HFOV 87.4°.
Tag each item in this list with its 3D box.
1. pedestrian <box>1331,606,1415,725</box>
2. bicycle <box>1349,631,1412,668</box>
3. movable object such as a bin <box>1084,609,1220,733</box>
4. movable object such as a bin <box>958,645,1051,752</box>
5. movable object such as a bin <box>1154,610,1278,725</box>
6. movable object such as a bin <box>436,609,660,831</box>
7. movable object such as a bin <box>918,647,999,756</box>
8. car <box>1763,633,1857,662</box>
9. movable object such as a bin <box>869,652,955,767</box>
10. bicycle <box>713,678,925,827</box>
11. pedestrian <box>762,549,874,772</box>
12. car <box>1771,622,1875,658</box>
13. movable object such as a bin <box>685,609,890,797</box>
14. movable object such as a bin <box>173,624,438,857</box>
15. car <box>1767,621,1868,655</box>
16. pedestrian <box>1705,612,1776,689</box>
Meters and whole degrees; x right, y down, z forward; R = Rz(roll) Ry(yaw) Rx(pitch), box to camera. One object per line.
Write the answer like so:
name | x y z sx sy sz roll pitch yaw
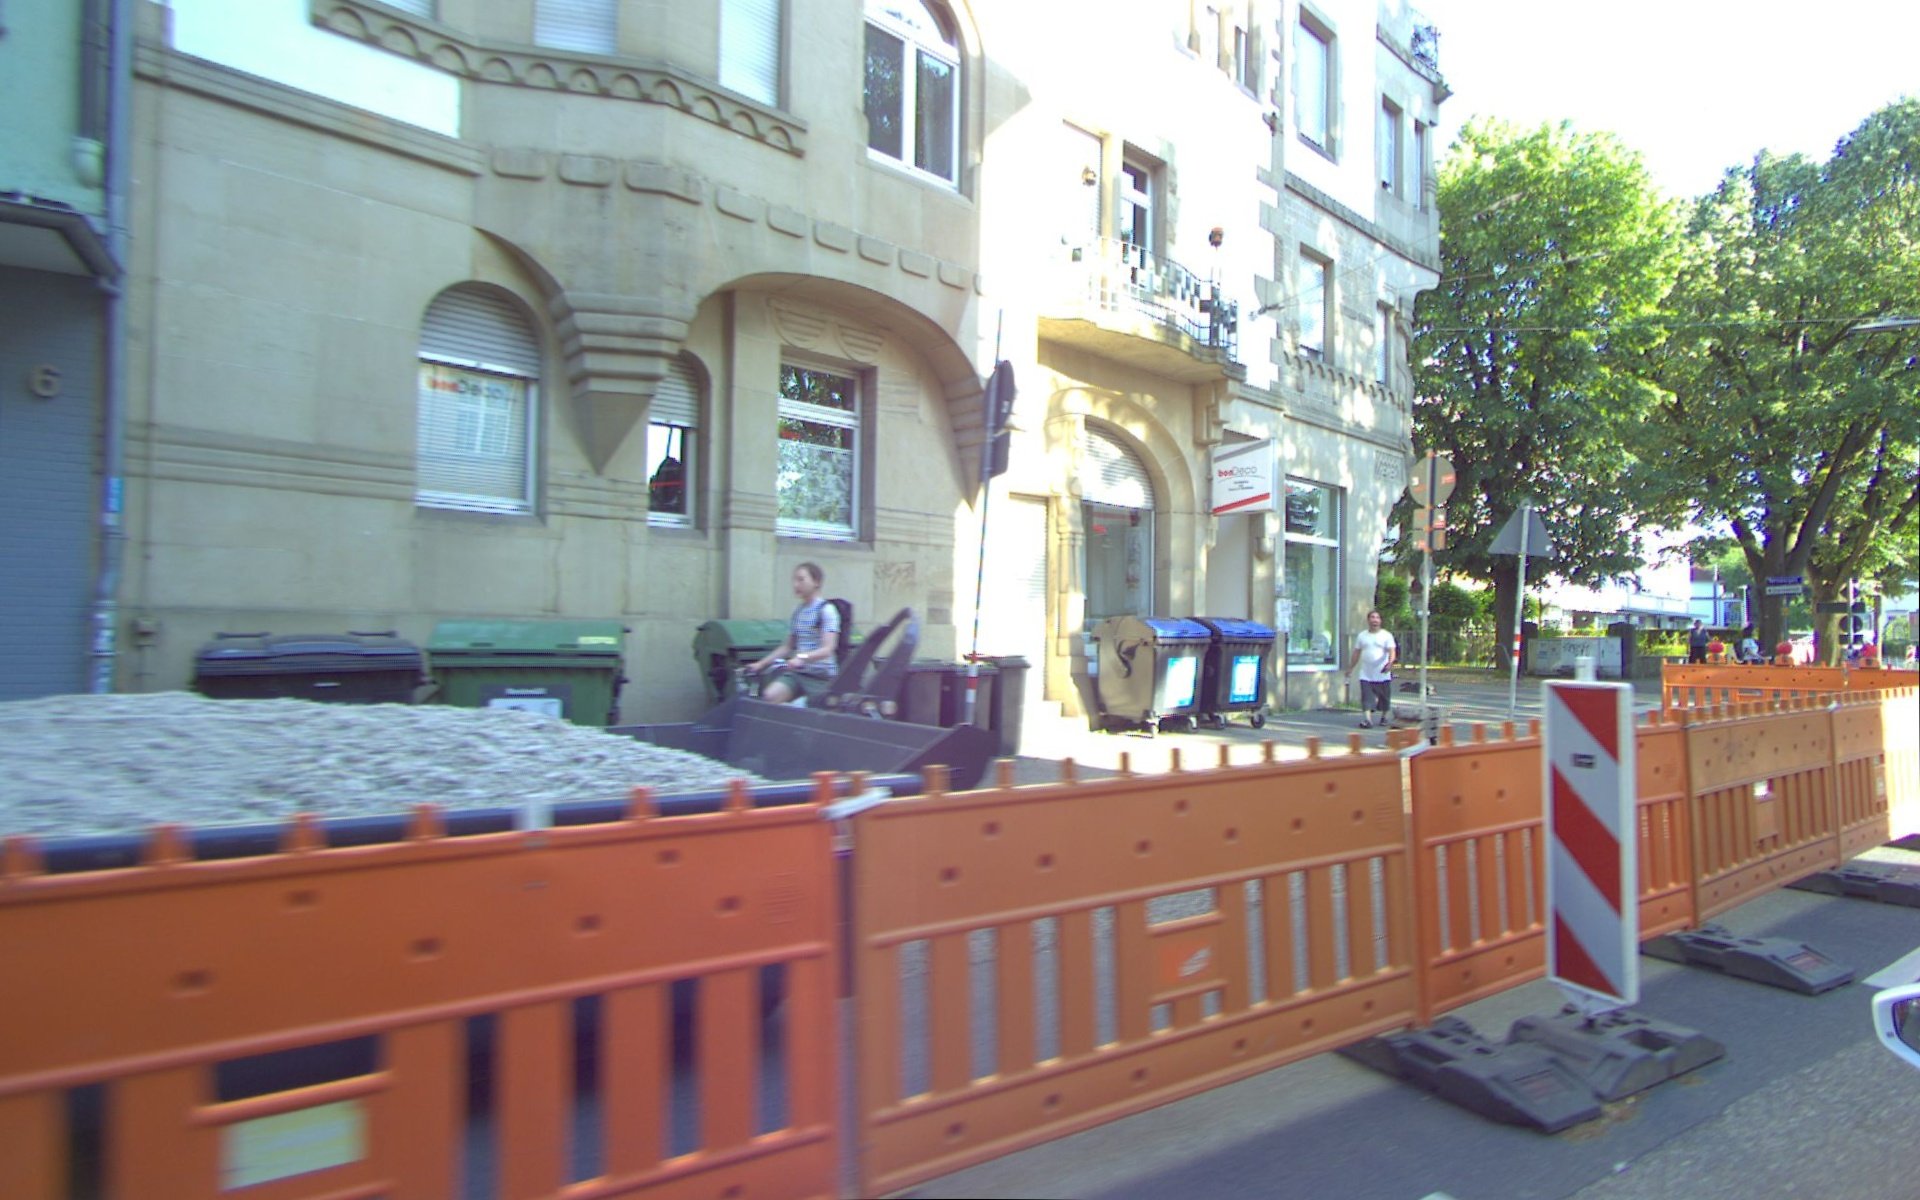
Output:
pedestrian | 5.940 0.914 14.437 0.812 1.625 0.912 1 0 44
bicycle | 12.971 1.513 30.983 1.910 1.091 0.743 1 0 -29
movable object such as a bin | 2.445 0.853 12.776 1.397 1.450 1.072 1 0 -43
movable object such as a bin | 0.472 1.031 10.783 0.757 1.055 0.631 1 0 -38
movable object such as a bin | 3.497 0.883 13.689 1.336 1.450 1.072 1 0 -43
movable object such as a bin | -2.986 0.809 7.370 1.387 1.450 1.080 1 0 -22
movable object such as a bin | -0.020 1.019 10.298 0.551 1.037 0.631 1 0 -38
car | 49.113 2.736 58.075 1.987 1.498 3.952 2 -1 -44
movable object such as a bin | -0.479 1.056 9.931 0.583 1.055 0.631 1 0 -38
bicycle | -1.046 1.100 7.549 1.458 0.944 0.596 1 0 -34
pedestrian | -1.071 0.432 7.532 0.610 1.576 0.594 1 0 -33
car | 53.197 2.427 61.968 2.101 1.991 4.625 1 0 -42
movable object such as a bin | -1.495 0.824 8.706 1.395 1.450 1.074 1 0 -38
movable object such as a bin | -4.212 0.818 6.498 1.322 1.281 1.074 1 0 -37
car | 51.176 2.251 60.010 1.982 1.876 4.282 1 0 -37
pedestrian | 18.900 1.202 24.324 1.178 1.805 1.037 1 -1 -32
